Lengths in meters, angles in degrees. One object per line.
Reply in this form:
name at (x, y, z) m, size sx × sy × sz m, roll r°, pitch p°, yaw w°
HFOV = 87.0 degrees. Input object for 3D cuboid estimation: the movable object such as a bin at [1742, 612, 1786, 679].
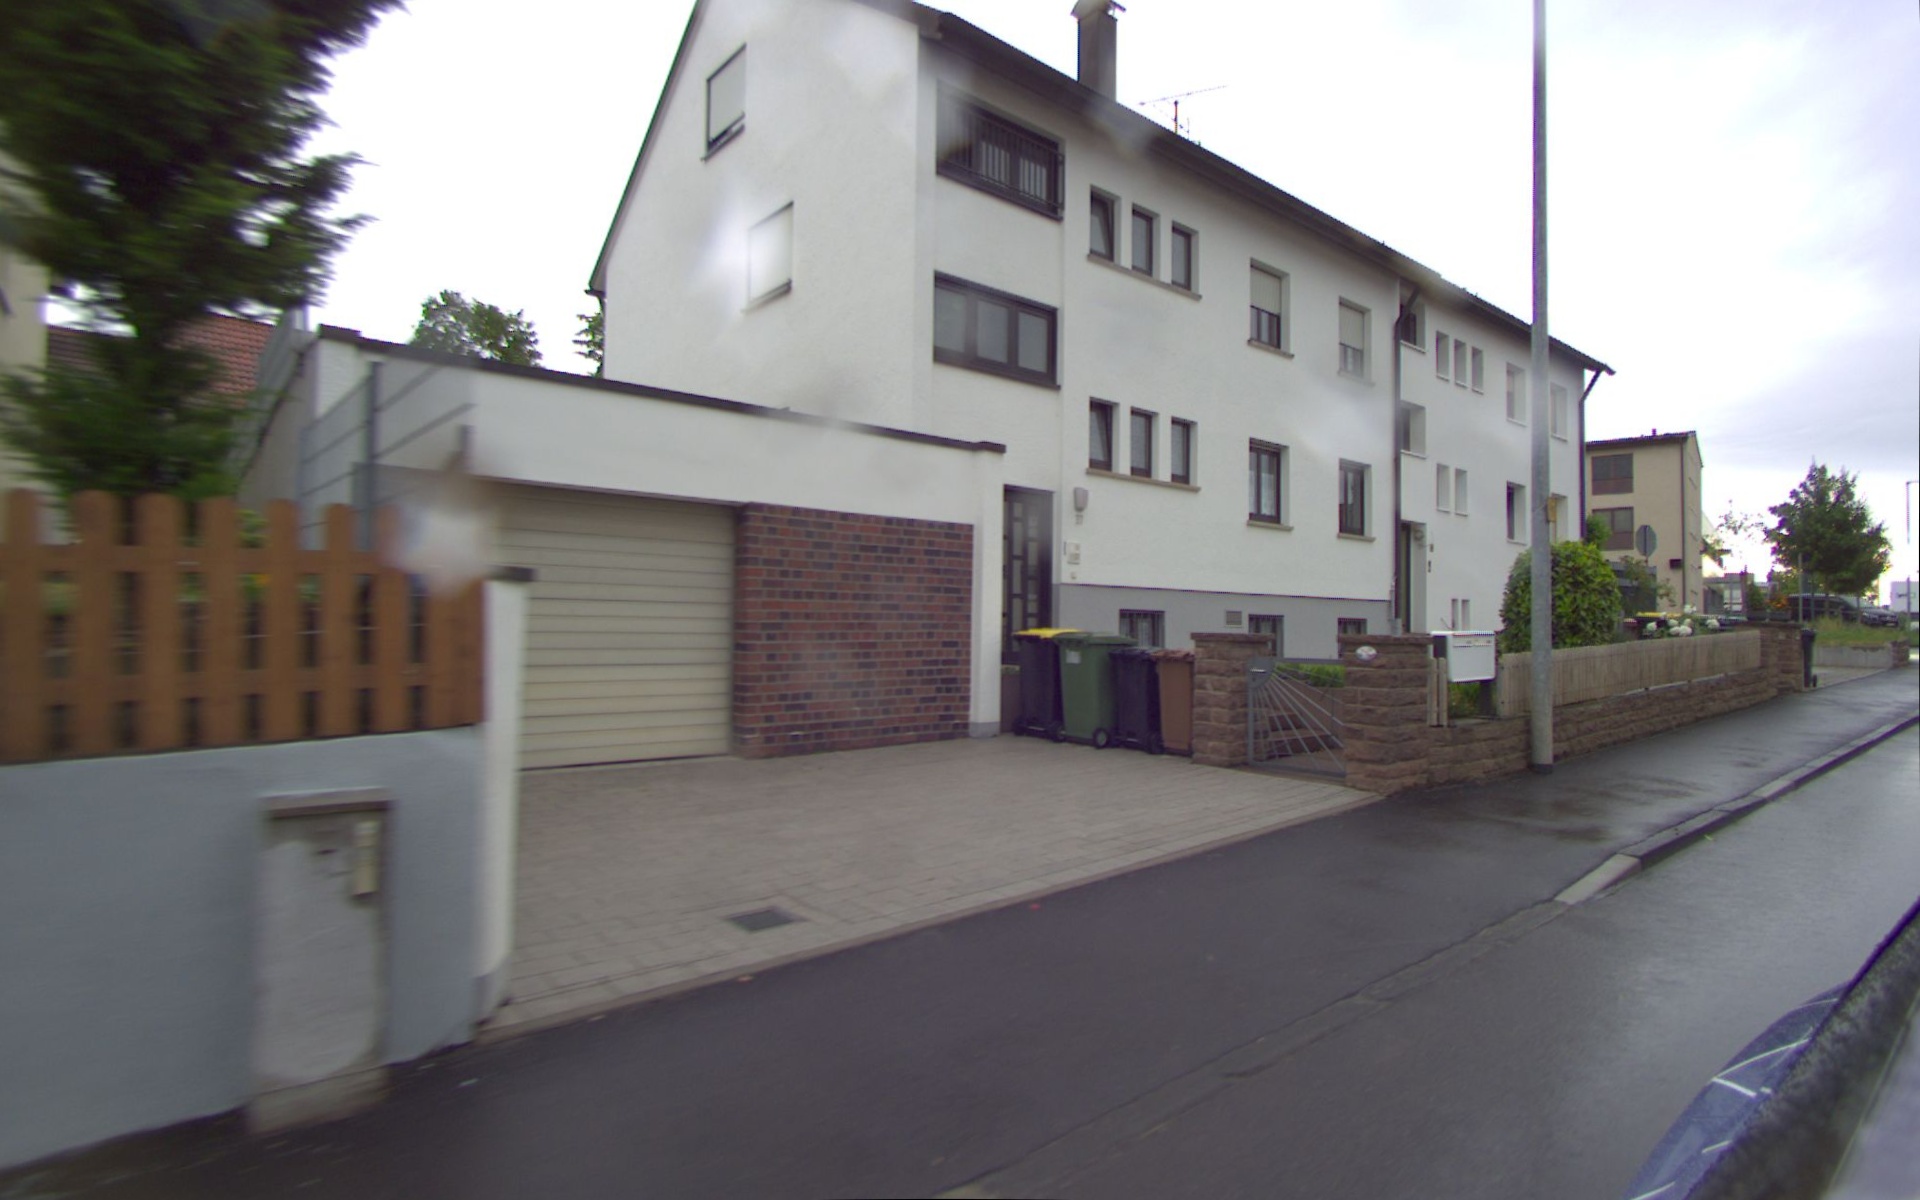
movable object such as a bin at (12.785, 0.727, 16.085) m, size 0.621 × 1.042 × 0.425 m, roll 4°, pitch -5°, yaw -42°

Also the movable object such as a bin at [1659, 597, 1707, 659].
movable object such as a bin at (12.481, 0.491, 17.481) m, size 0.621 × 1.042 × 0.528 m, roll 4°, pitch -5°, yaw -42°

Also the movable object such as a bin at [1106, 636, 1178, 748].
movable object such as a bin at (1.650, 0.825, 9.185) m, size 0.434 × 0.975 × 0.472 m, roll 4°, pitch -5°, yaw -40°

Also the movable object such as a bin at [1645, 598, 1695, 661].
movable object such as a bin at (11.941, 0.505, 17.016) m, size 0.621 × 1.042 × 0.545 m, roll 4°, pitch -5°, yaw -42°

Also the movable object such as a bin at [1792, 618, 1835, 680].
movable object such as a bin at (13.549, 0.780, 16.065) m, size 0.499 × 0.953 × 0.425 m, roll 4°, pitch -5°, yaw -42°

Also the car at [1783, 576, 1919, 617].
car at (44.633, -0.183, 50.705) m, size 2.011 × 1.944 × 5.125 m, roll 1°, pitch 0°, yaw -11°

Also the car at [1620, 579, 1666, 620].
car at (38.977, 0.024, 57.740) m, size 1.790 × 2.040 × 4.534 m, roll -2°, pitch -4°, yaw 38°

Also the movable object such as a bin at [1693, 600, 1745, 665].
movable object such as a bin at (12.384, 0.541, 16.514) m, size 0.621 × 1.042 × 0.545 m, roll 4°, pitch -5°, yaw -42°

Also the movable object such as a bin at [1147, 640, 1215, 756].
movable object such as a bin at (1.924, 0.839, 8.820) m, size 0.411 × 0.975 × 0.406 m, roll 4°, pitch -5°, yaw -40°

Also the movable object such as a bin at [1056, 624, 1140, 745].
movable object such as a bin at (1.298, 0.780, 9.527) m, size 0.617 × 1.087 × 0.498 m, roll 4°, pitch -5°, yaw -40°

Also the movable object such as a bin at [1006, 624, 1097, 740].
movable object such as a bin at (0.906, 0.796, 9.980) m, size 0.617 × 1.087 × 0.651 m, roll 4°, pitch -5°, yaw -40°
